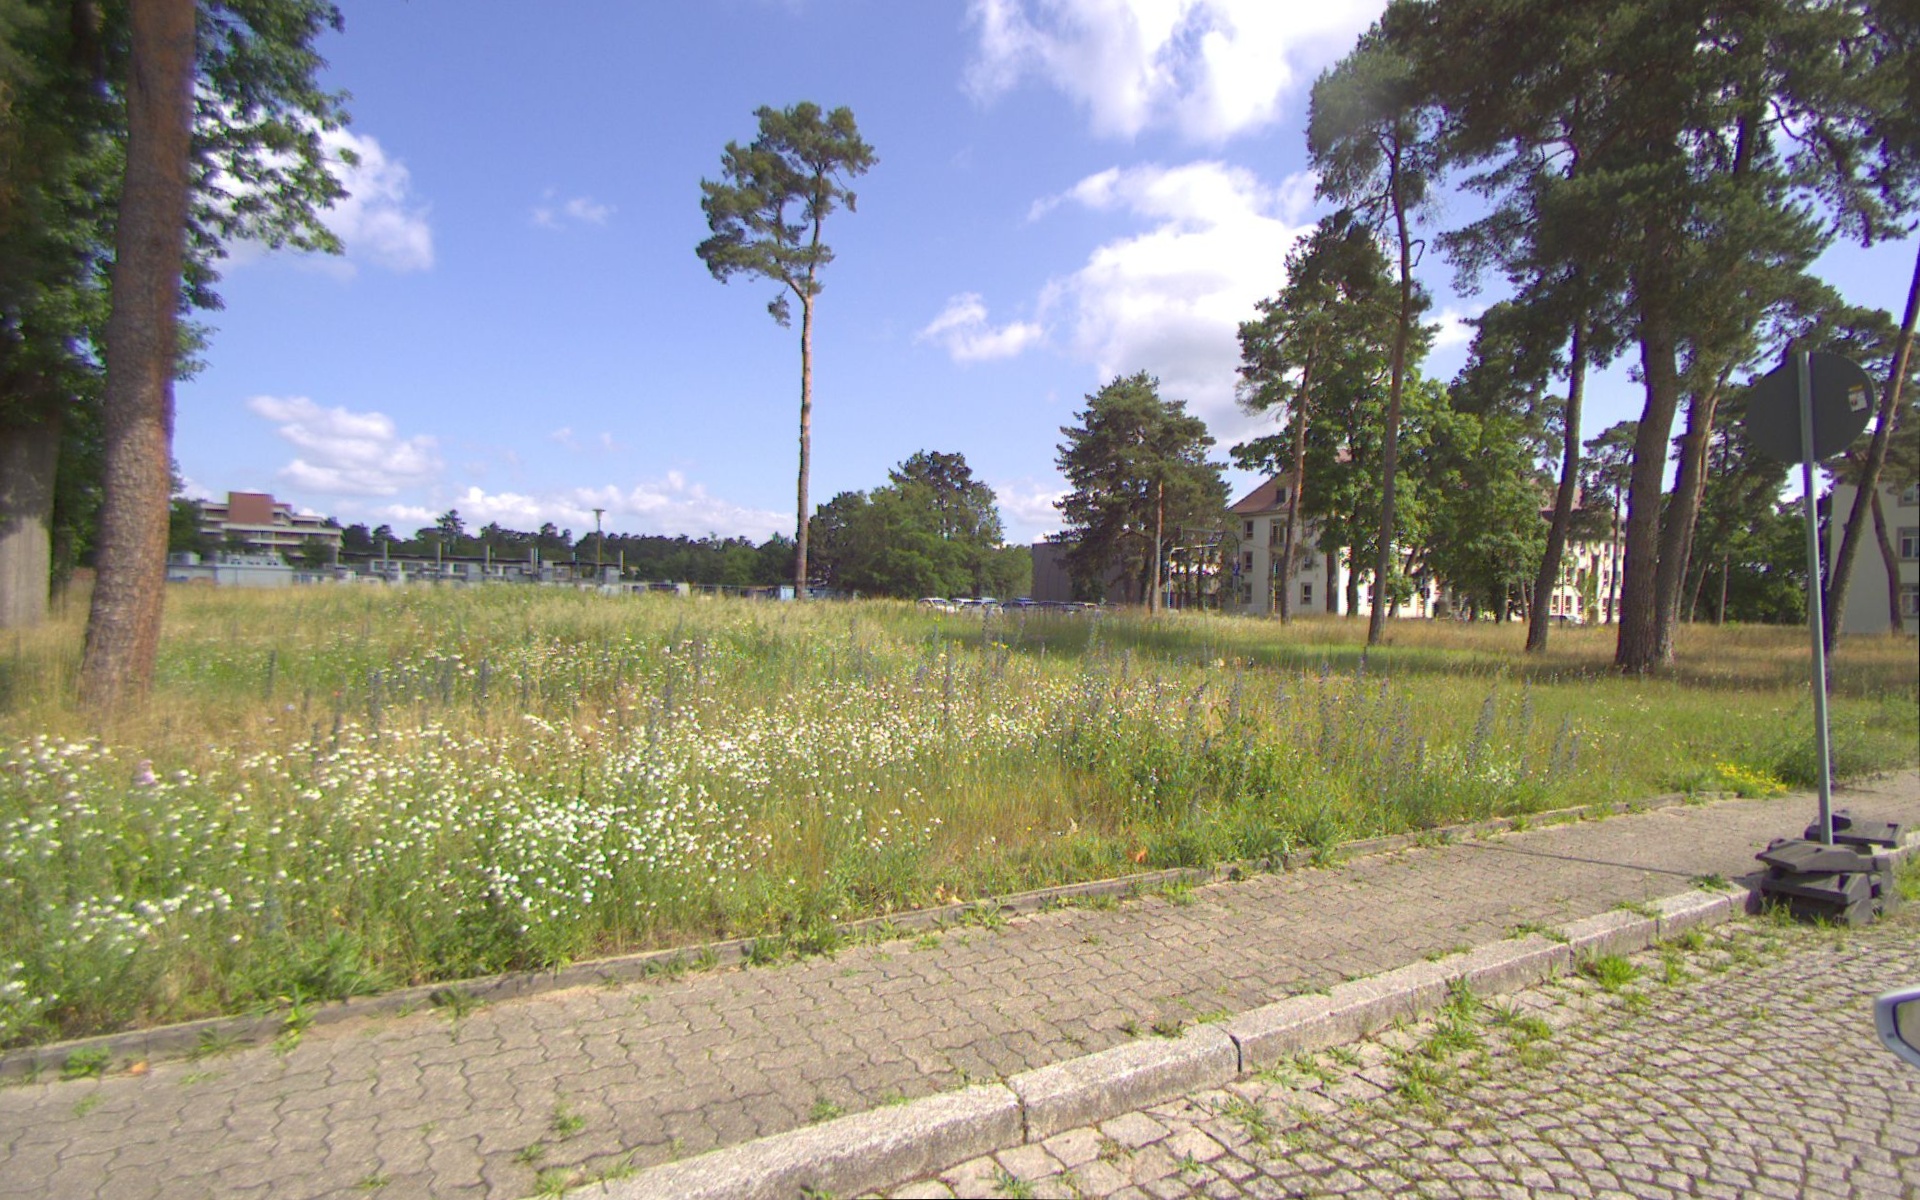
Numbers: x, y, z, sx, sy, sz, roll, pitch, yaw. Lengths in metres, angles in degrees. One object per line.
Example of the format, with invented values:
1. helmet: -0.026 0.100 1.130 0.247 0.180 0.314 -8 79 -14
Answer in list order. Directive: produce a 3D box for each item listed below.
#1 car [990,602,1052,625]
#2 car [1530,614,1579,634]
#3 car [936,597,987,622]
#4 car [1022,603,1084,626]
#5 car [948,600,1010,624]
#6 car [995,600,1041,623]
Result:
1. car: 3.773 0.829 62.509 1.880 1.337 4.044 2 -1 -32
2. car: 61.031 2.443 103.124 1.693 2.018 4.040 2 -1 -30
3. car: 0.085 0.707 72.877 1.879 1.725 4.044 2 -1 -32
4. car: 5.859 0.890 63.600 1.880 1.327 4.044 2 -1 -32
5. car: 1.119 0.721 61.527 1.880 1.356 4.044 2 -1 -32
6. car: 4.856 0.974 85.080 1.879 1.803 4.044 2 -1 -32
